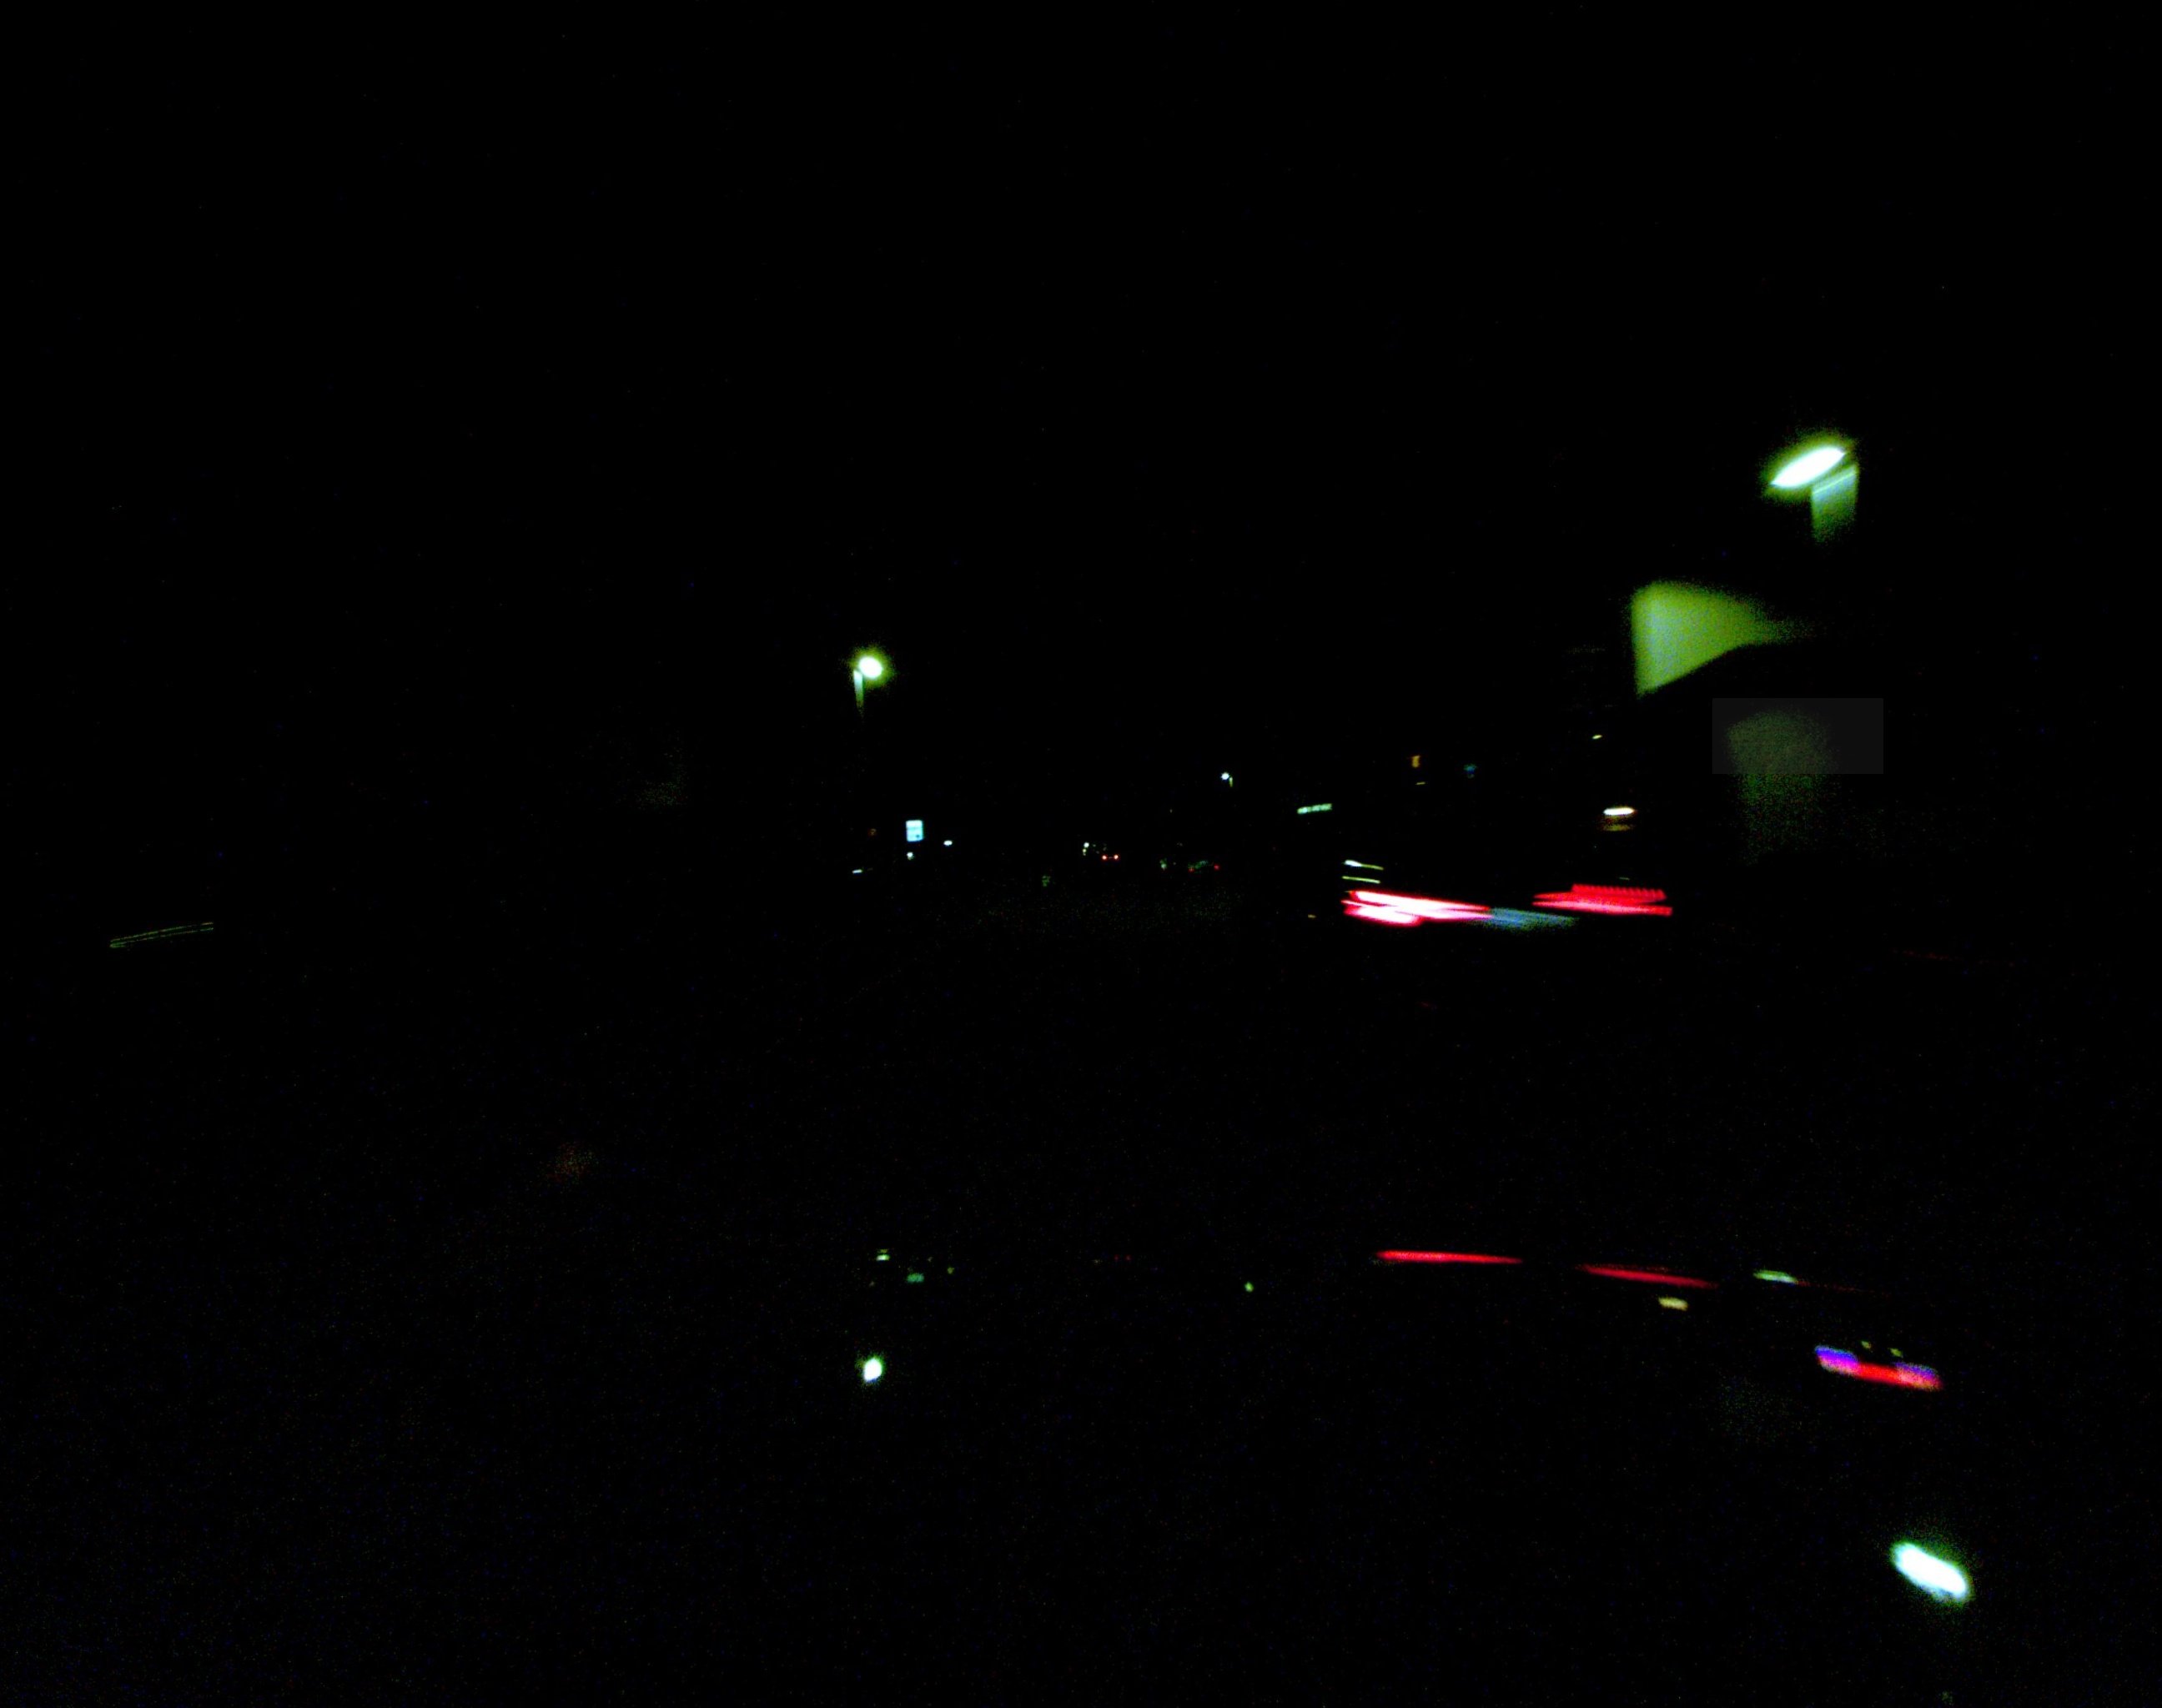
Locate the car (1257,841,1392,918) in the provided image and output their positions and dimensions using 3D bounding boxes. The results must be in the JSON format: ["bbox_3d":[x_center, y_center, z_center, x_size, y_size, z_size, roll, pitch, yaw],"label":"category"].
[{"bbox_3d":[6.051,0.572,19.513,1.933,1.627,4.470,-4,0,0],"label":"car"}]

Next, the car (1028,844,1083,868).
[{"bbox_3d":[-2.462,0.191,74.195,5.156,2.084,2.259,-2,1,0],"label":"car"}]

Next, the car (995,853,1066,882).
[{"bbox_3d":[-2.884,0.773,43.812,3.926,1.505,1.854,-2,2,0],"label":"car"}]

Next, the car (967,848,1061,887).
[{"bbox_3d":[-3.346,0.657,38.611,4.363,1.805,2.032,-2,1,6],"label":"car"}]

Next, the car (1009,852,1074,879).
[{"bbox_3d":[-2.526,0.734,49.578,3.924,1.542,1.988,-2,0,5],"label":"car"}]

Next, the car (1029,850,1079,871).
[{"bbox_3d":[-2.380,0.545,67.506,4.286,1.688,2.000,-3,0,1],"label":"car"}]

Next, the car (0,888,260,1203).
[{"bbox_3d":[-6.374,1.045,3.257,1.643,1.551,3.678,-2,0,0],"label":"car"}]

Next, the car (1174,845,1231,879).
[{"bbox_3d":[6.398,0.383,40.570,2.121,1.539,4.475,-4,1,-1],"label":"car"}]

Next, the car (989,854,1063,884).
[{"bbox_3d":[-2.959,0.804,41.631,3.927,1.505,1.854,-2,1,-2],"label":"car"}]

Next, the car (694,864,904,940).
[{"bbox_3d":[-6.110,1.010,16.783,3.914,1.477,1.832,-1,1,1],"label":"car"}]

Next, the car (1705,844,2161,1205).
[{"bbox_3d":[5.476,0.726,3.556,1.754,1.460,4.008,-3,0,0],"label":"car"}]

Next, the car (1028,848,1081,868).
[{"bbox_3d":[-2.667,0.411,76.832,5.156,1.834,2.259,-2,0,0],"label":"car"}]

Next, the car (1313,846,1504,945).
[{"bbox_3d":[5.861,0.658,14.178,1.775,1.460,3.966,-4,0,0],"label":"car"}]

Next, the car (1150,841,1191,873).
[{"bbox_3d":[6.109,0.189,52.453,2.121,1.935,4.887,-4,0,-1],"label":"car"}]

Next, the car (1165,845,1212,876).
[{"bbox_3d":[6.388,0.359,45.648,2.121,1.661,4.169,-4,0,-1],"label":"car"}]

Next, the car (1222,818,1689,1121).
[{"bbox_3d":[2.665,0.680,6.830,2.008,1.738,4.558,-3,1,2],"label":"car"}]

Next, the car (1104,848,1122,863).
[{"bbox_3d":[3.859,0.153,91.592,1.724,1.705,3.960,-4,0,-2],"label":"car"}]
